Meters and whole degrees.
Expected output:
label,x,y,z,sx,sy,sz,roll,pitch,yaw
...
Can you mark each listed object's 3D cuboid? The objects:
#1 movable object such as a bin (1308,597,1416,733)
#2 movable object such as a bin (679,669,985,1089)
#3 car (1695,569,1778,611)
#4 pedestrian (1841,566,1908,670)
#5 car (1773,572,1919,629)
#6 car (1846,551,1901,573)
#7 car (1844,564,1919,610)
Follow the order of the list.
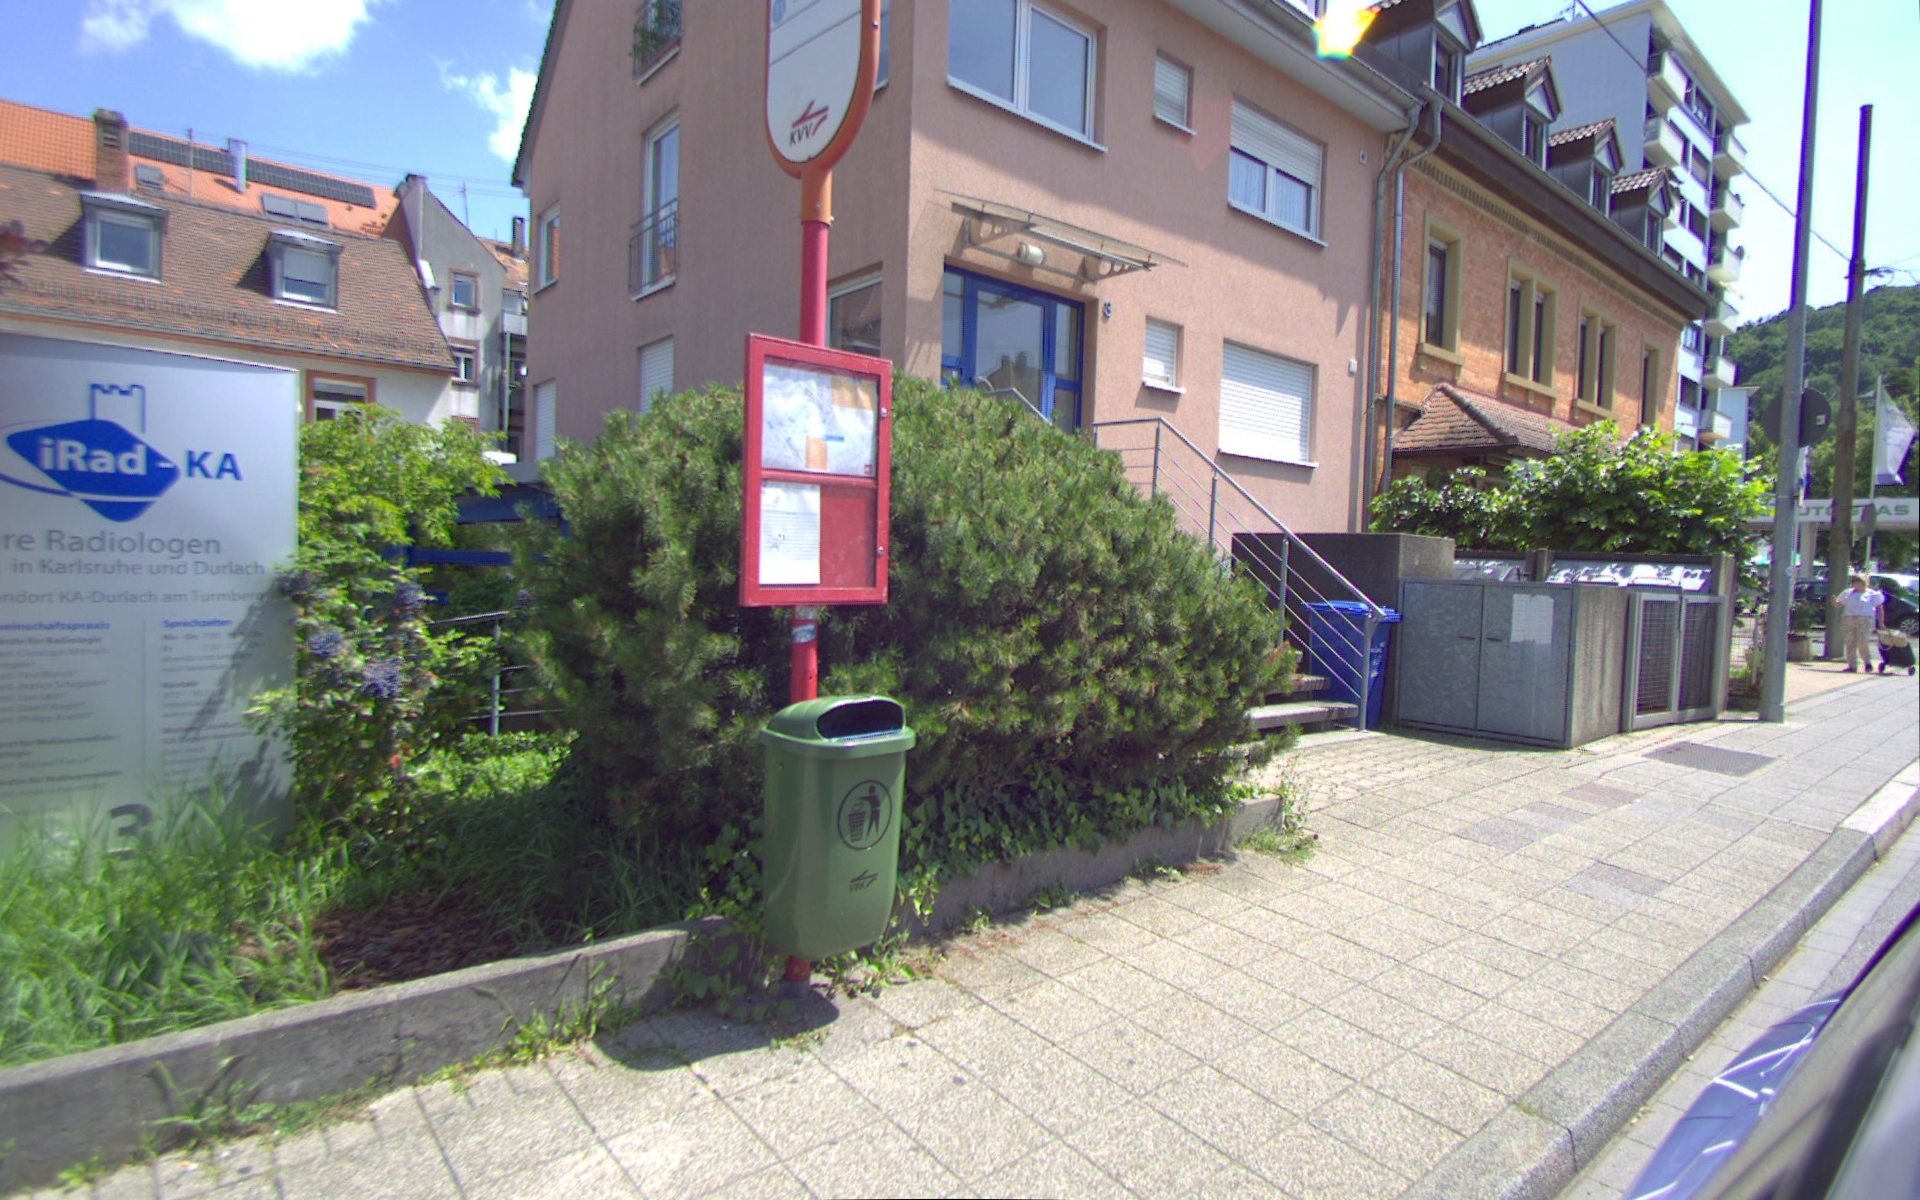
label,x,y,z,sx,sy,sz,roll,pitch,yaw
movable object such as a bin,3.387,0.518,8.532,0.656,1.058,0.623,-2,2,-41
movable object such as a bin,-0.349,0.706,2.834,0.717,0.917,0.407,-2,7,-44
car,32.712,-0.442,42.604,4.621,1.646,1.750,-1,3,-39
pedestrian,15.333,0.288,16.986,0.704,1.661,0.650,5,2,41
car,27.740,-0.020,31.363,3.868,1.561,1.818,3,4,38
car,88.746,-3.711,98.341,5.273,2.038,2.405,-2,2,-29
car,38.766,-0.555,41.165,1.788,1.811,4.292,-1,2,-1
